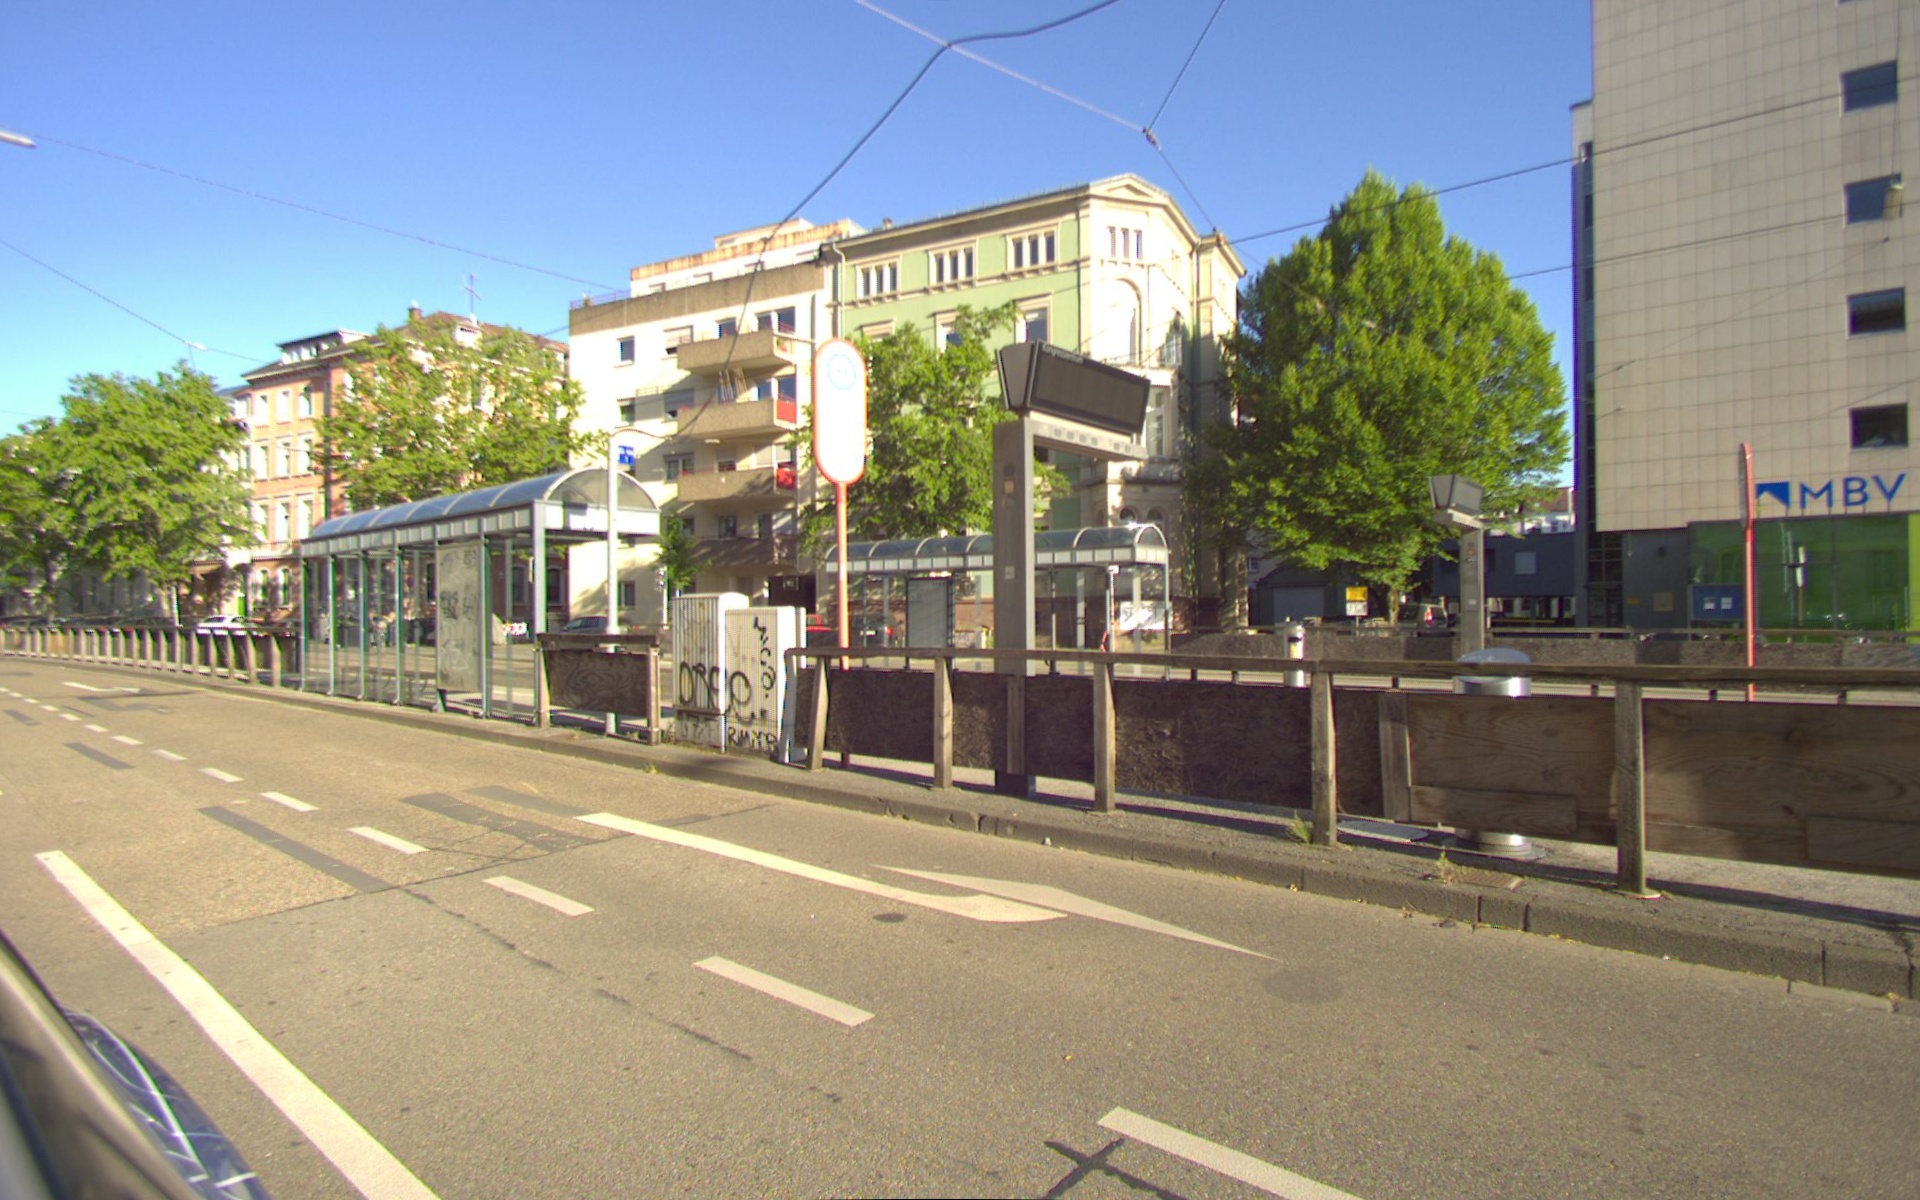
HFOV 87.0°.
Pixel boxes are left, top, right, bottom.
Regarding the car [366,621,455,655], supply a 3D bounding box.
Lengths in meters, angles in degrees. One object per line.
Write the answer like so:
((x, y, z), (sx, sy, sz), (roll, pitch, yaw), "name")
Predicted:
((-23.715, 1.602, 43.662), (3.986, 1.407, 1.592), (-1, -2, 32), "car")

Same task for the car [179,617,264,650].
((-39.502, 1.782, 54.256), (1.825, 1.721, 4.130), (0, -1, -5), "car")

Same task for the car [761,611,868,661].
((-4.898, 1.186, 34.577), (1.754, 1.594, 3.965), (-1, -1, 26), "car")

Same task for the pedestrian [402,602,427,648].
((-27.117, 1.246, 50.300), (0.753, 2.224, 0.804), (-1, -2, 30), "pedestrian")

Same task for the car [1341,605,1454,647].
((15.721, 0.895, 36.466), (1.544, 1.423, 3.430), (-1, 0, -38), "car")

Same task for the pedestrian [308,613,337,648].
((-31.834, 1.517, 50.554), (1.016, 1.733, 0.846), (-1, -2, 32), "pedestrian")

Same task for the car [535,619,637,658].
((-14.310, 1.456, 38.684), (3.725, 1.438, 1.637), (-1, -1, 29), "car")

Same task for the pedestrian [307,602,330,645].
((-34.163, 1.255, 53.911), (0.755, 2.224, 0.803), (-1, -2, 36), "pedestrian")

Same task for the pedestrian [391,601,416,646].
((-27.904, 1.173, 50.778), (0.753, 2.224, 0.804), (-1, -2, 30), "pedestrian")

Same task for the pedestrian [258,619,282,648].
((-38.677, 1.862, 56.744), (0.853, 1.641, 0.894), (0, -1, -19), "pedestrian")

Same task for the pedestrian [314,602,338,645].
((-33.128, 1.241, 52.862), (0.753, 2.224, 0.804), (-1, -2, 30), "pedestrian")

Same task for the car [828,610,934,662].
((-2.538, 1.156, 33.503), (1.754, 1.594, 3.965), (-1, -1, 26), "car")
